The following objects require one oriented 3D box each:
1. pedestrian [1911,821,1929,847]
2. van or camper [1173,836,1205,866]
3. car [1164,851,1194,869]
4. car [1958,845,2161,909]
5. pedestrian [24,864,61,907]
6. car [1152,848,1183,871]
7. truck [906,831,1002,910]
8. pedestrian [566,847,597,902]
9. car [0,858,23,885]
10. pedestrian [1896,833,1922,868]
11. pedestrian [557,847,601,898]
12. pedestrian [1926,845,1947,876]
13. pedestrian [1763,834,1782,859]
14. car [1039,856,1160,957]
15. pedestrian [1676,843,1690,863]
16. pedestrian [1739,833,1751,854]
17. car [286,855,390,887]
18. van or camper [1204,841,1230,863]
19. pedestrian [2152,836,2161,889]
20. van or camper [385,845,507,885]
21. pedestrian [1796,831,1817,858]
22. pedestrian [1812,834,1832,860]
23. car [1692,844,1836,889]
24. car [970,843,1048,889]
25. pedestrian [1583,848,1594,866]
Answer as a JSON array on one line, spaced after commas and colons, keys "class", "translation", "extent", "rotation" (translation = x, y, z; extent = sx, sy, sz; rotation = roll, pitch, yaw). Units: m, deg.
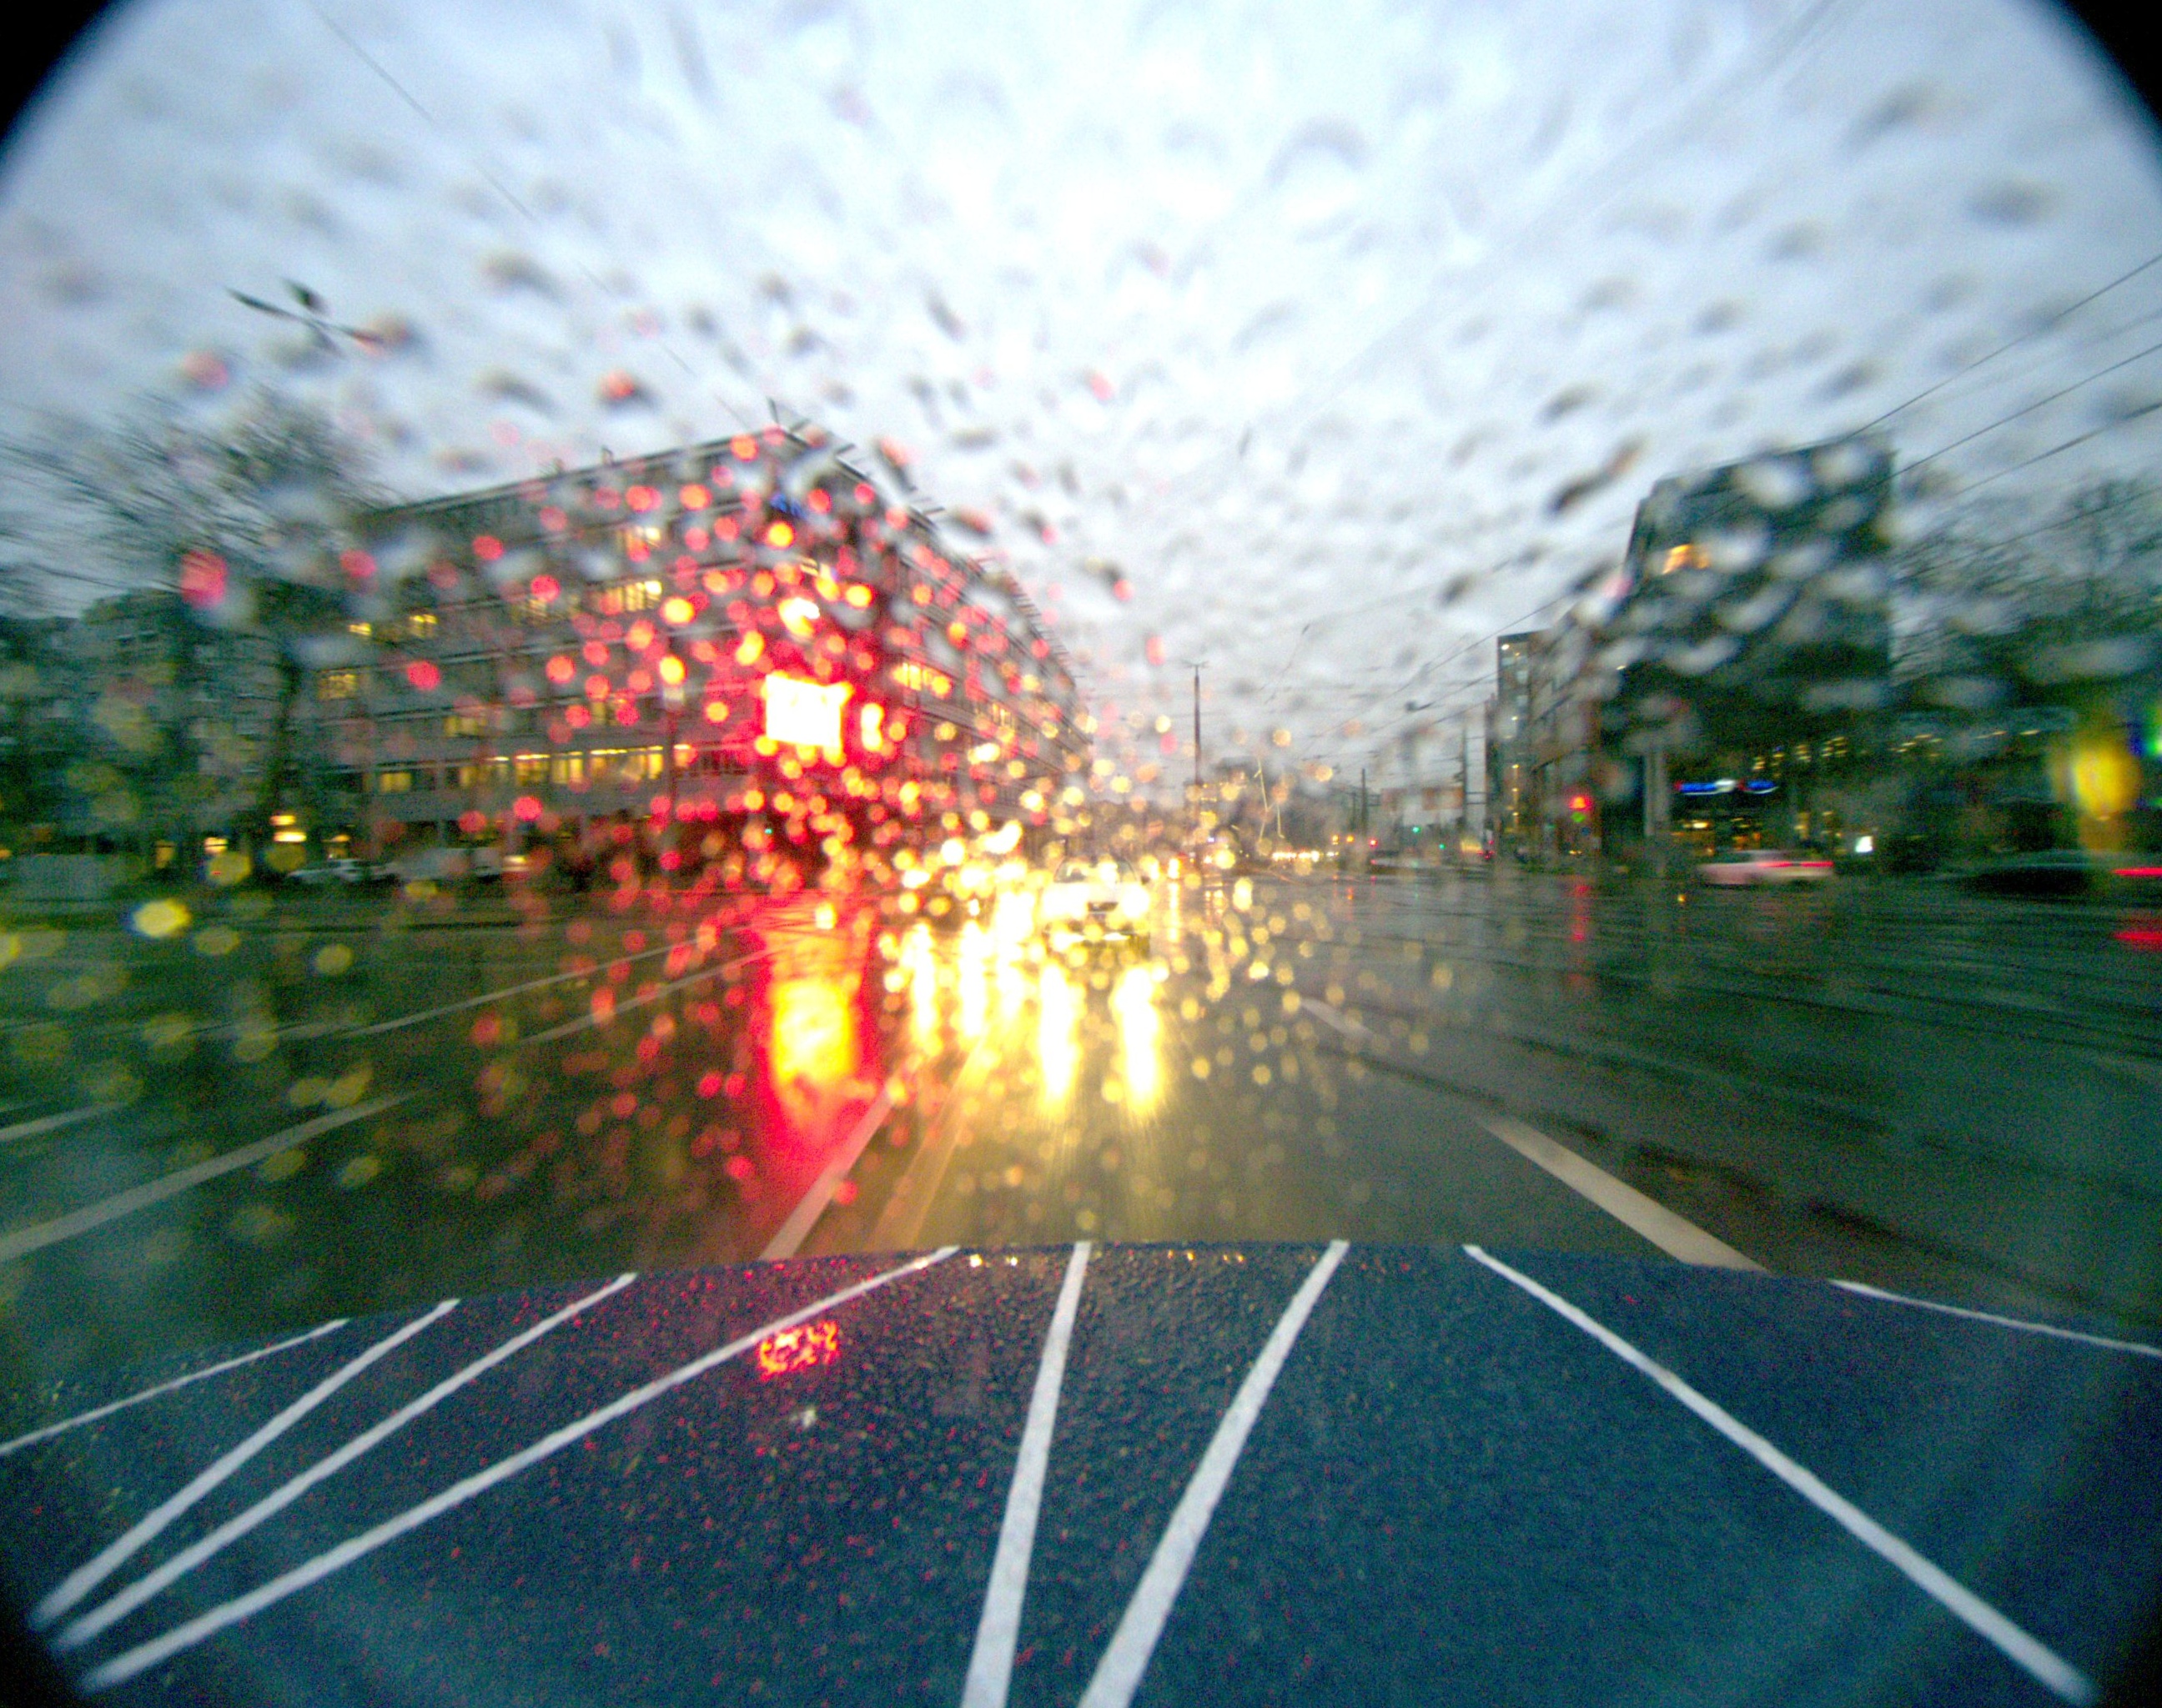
[{"class": "pedestrian", "translation": [55.895, -1.327, 50.626], "extent": [0.653, 1.740, 0.446], "rotation": [0, 1, 14]}, {"class": "van or camper", "translation": [9.893, -0.325, 69.108], "extent": [2.059, 2.533, 5.891], "rotation": [-2, 1, 15]}, {"class": "car", "translation": [7.890, 0.462, 60.902], "extent": [1.822, 1.324, 4.229], "rotation": [-2, 0, 15]}, {"class": "car", "translation": [26.580, 0.526, 20.186], "extent": [1.757, 1.496, 4.235], "rotation": [-1, 1, 3]}, {"class": "pedestrian", "translation": [-33.462, 1.020, 24.485], "extent": [0.606, 1.356, 0.479], "rotation": [0, 1, 12]}, {"class": "car", "translation": [6.193, 0.364, 54.006], "extent": [1.682, 1.564, 3.765], "rotation": [0, 1, 15]}, {"class": "truck", "translation": [-3.433, 0.425, 21.339], "extent": [1.909, 1.906, 4.616], "rotation": [-2, 0, -1]}, {"class": "pedestrian", "translation": [-16.838, 0.674, 25.636], "extent": [0.801, 1.800, 0.649], "rotation": [-1, 1, -30]}, {"class": "car", "translation": [-59.620, 0.928, 40.640], "extent": [3.994, 1.425, 1.843], "rotation": [0, 1, 8]}, {"class": "pedestrian", "translation": [47.789, -0.184, 43.853], "extent": [0.707, 2.002, 0.758], "rotation": [-1, 1, -10]}, {"class": "pedestrian", "translation": [-17.895, 0.635, 27.091], "extent": [1.155, 1.777, 0.775], "rotation": [-1, 1, -42]}, {"class": "pedestrian", "translation": [45.912, 0.345, 40.777], "extent": [0.562, 1.674, 0.596], "rotation": [-1, 1, -20]}, {"class": "pedestrian", "translation": [47.096, -0.509, 51.771], "extent": [0.740, 1.646, 0.695], "rotation": [0, 1, 23]}, {"class": "car", "translation": [0.388, 0.798, 13.601], "extent": [1.773, 1.449, 4.222], "rotation": [-2, 0, 3]}, {"class": "pedestrian", "translation": [45.800, -0.056, 57.771], "extent": [0.651, 1.494, 0.695], "rotation": [0, 1, 23]}, {"class": "pedestrian", "translation": [53.809, -0.880, 61.572], "extent": [0.691, 1.699, 0.928], "rotation": [1, 1, 42]}, {"class": "car", "translation": [-37.773, 0.844, 38.665], "extent": [3.839, 1.519, 1.643], "rotation": [-1, 1, 5]}, {"class": "van or camper", "translation": [15.697, -0.287, 87.501], "extent": [2.182, 2.339, 5.657], "rotation": [-2, 0, 18]}, {"class": "pedestrian", "translation": [41.547, 0.330, 28.981], "extent": [0.779, 2.002, 0.706], "rotation": [-1, 2, -28]}, {"class": "van or camper", "translation": [-31.848, 0.542, 38.186], "extent": [4.742, 1.918, 1.842], "rotation": [-1, 1, 5]}, {"class": "pedestrian", "translation": [49.741, -0.676, 52.127], "extent": [0.773, 1.835, 0.924], "rotation": [0, 1, 25]}, {"class": "pedestrian", "translation": [50.590, -0.473, 51.874], "extent": [0.726, 1.699, 0.695], "rotation": [0, 1, 23]}, {"class": "car", "translation": [24.420, 0.383, 27.397], "extent": [1.671, 1.486, 4.202], "rotation": [0, 1, 5]}, {"class": "car", "translation": [-3.035, 0.462, 33.064], "extent": [1.907, 1.809, 4.693], "rotation": [-2, 0, 13]}, {"class": "pedestrian", "translation": [35.775, 0.191, 53.602], "extent": [0.445, 1.257, 0.496], "rotation": [-2, 1, 9]}]
